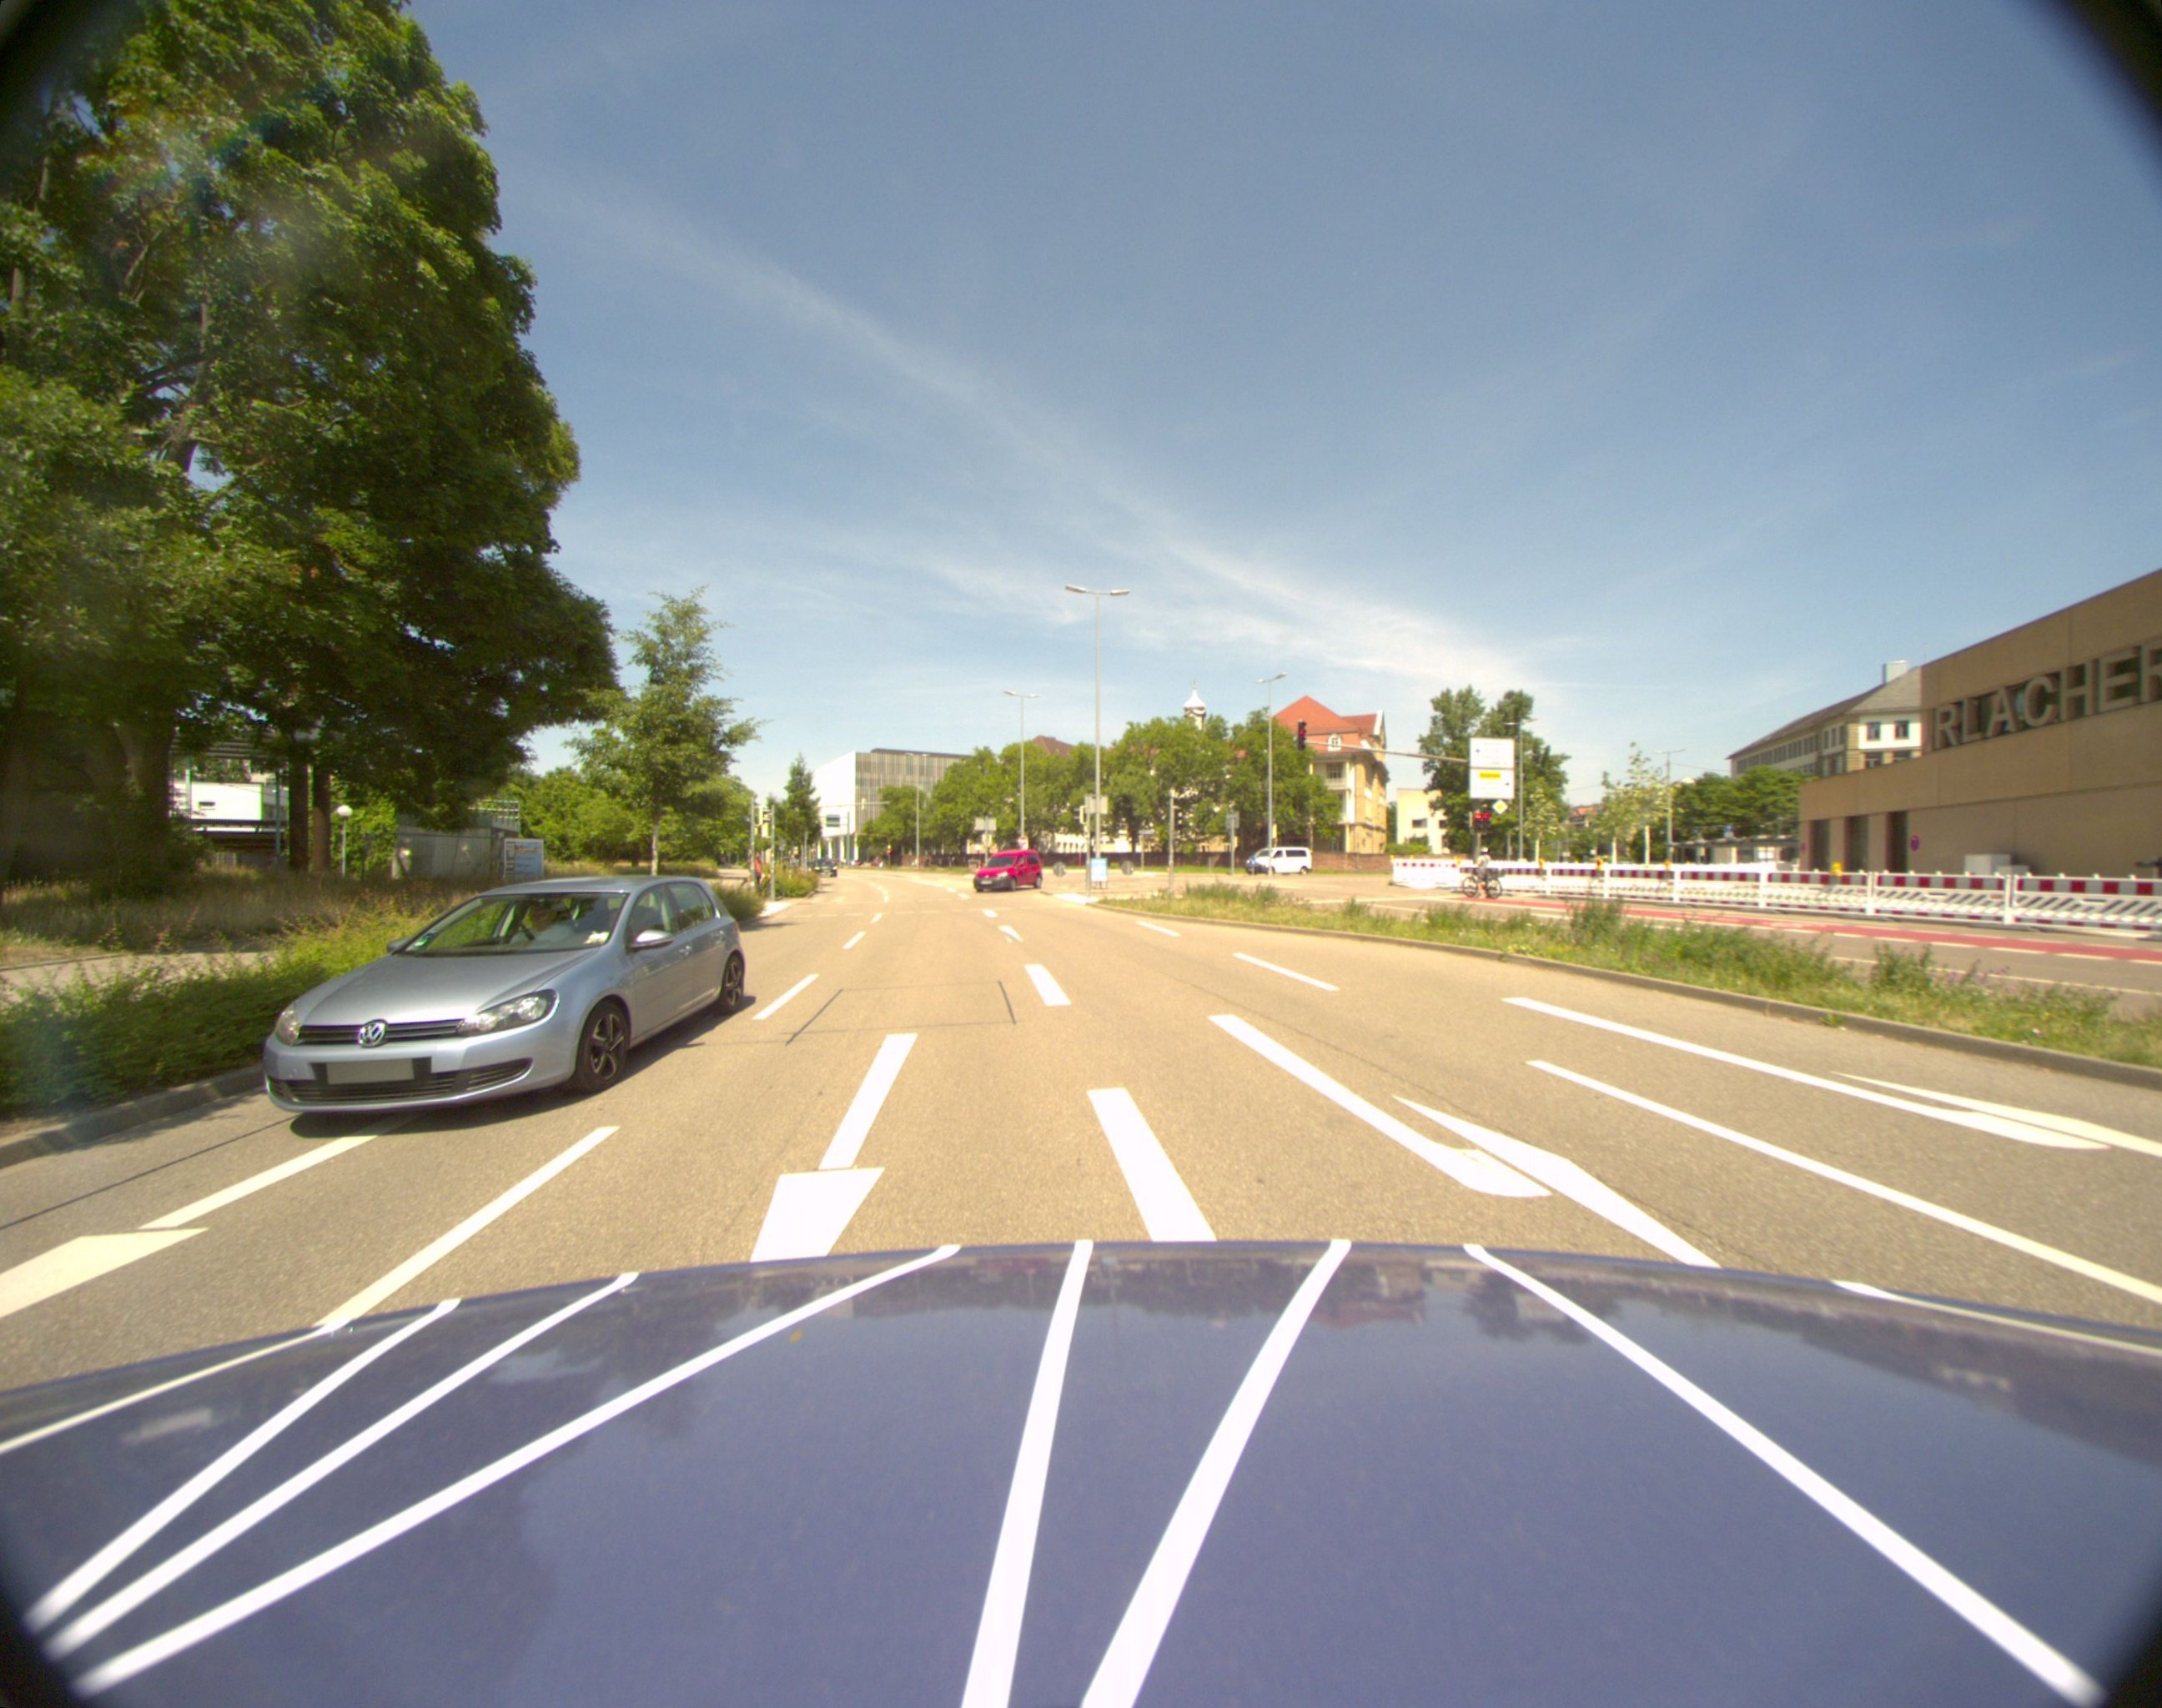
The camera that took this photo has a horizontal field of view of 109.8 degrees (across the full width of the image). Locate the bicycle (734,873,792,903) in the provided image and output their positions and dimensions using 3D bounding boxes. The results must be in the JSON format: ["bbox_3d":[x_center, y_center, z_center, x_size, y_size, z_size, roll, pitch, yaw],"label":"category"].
[{"bbox_3d":[-11.685,1.233,27.917,1.993,1.039,0.559,1,-1,12],"label":"bicycle"}]

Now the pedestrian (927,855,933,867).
[{"bbox_3d":[-25.272,1.127,126.870,0.790,2.001,0.838,0,-2,-29],"label":"pedestrian"}]

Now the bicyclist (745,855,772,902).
[{"bbox_3d":[-11.874,0.898,27.991,0.702,1.705,0.552,0,-1,11],"label":"bicyclist"}]

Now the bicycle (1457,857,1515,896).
[{"bbox_3d":[12.766,0.688,24.008,0.524,1.174,1.896,-1,1,-12],"label":"bicycle"}]

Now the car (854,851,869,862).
[{"bbox_3d":[-37.137,0.387,128.365,1.784,1.673,3.993,0,-2,-26],"label":"car"}]

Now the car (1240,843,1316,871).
[{"bbox_3d":[13.337,0.171,51.377,5.039,1.784,1.928,-1,0,-29],"label":"car"}]

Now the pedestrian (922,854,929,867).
[{"bbox_3d":[-25.895,1.093,126.493,0.790,2.001,0.962,0,-2,-29],"label":"pedestrian"}]

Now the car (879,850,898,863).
[{"bbox_3d":[-31.027,0.456,122.275,2.003,2.001,4.206,0,-2,-28],"label":"car"}]

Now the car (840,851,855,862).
[{"bbox_3d":[-39.168,0.392,127.361,1.781,1.658,3.992,0,-2,-28],"label":"car"}]

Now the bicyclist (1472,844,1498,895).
[{"bbox_3d":[12.766,0.476,24.003,0.531,1.570,0.498,-1,1,-12],"label":"bicyclist"}]

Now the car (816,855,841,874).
[{"bbox_3d":[-21.880,0.945,65.770,1.711,1.576,4.548,0,-2,-23],"label":"car"}]

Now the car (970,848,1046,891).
[{"bbox_3d":[-3.201,0.707,34.158,1.830,1.755,4.286,-2,-2,18],"label":"car"}]

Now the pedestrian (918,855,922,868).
[{"bbox_3d":[-26.673,1.247,126.062,0.550,2.001,0.535,0,-1,-28],"label":"pedestrian"}]

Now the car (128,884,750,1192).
[{"bbox_3d":[-4.244,1.044,6.040,1.833,1.406,3.991,-1,0,-6],"label":"car"}]
